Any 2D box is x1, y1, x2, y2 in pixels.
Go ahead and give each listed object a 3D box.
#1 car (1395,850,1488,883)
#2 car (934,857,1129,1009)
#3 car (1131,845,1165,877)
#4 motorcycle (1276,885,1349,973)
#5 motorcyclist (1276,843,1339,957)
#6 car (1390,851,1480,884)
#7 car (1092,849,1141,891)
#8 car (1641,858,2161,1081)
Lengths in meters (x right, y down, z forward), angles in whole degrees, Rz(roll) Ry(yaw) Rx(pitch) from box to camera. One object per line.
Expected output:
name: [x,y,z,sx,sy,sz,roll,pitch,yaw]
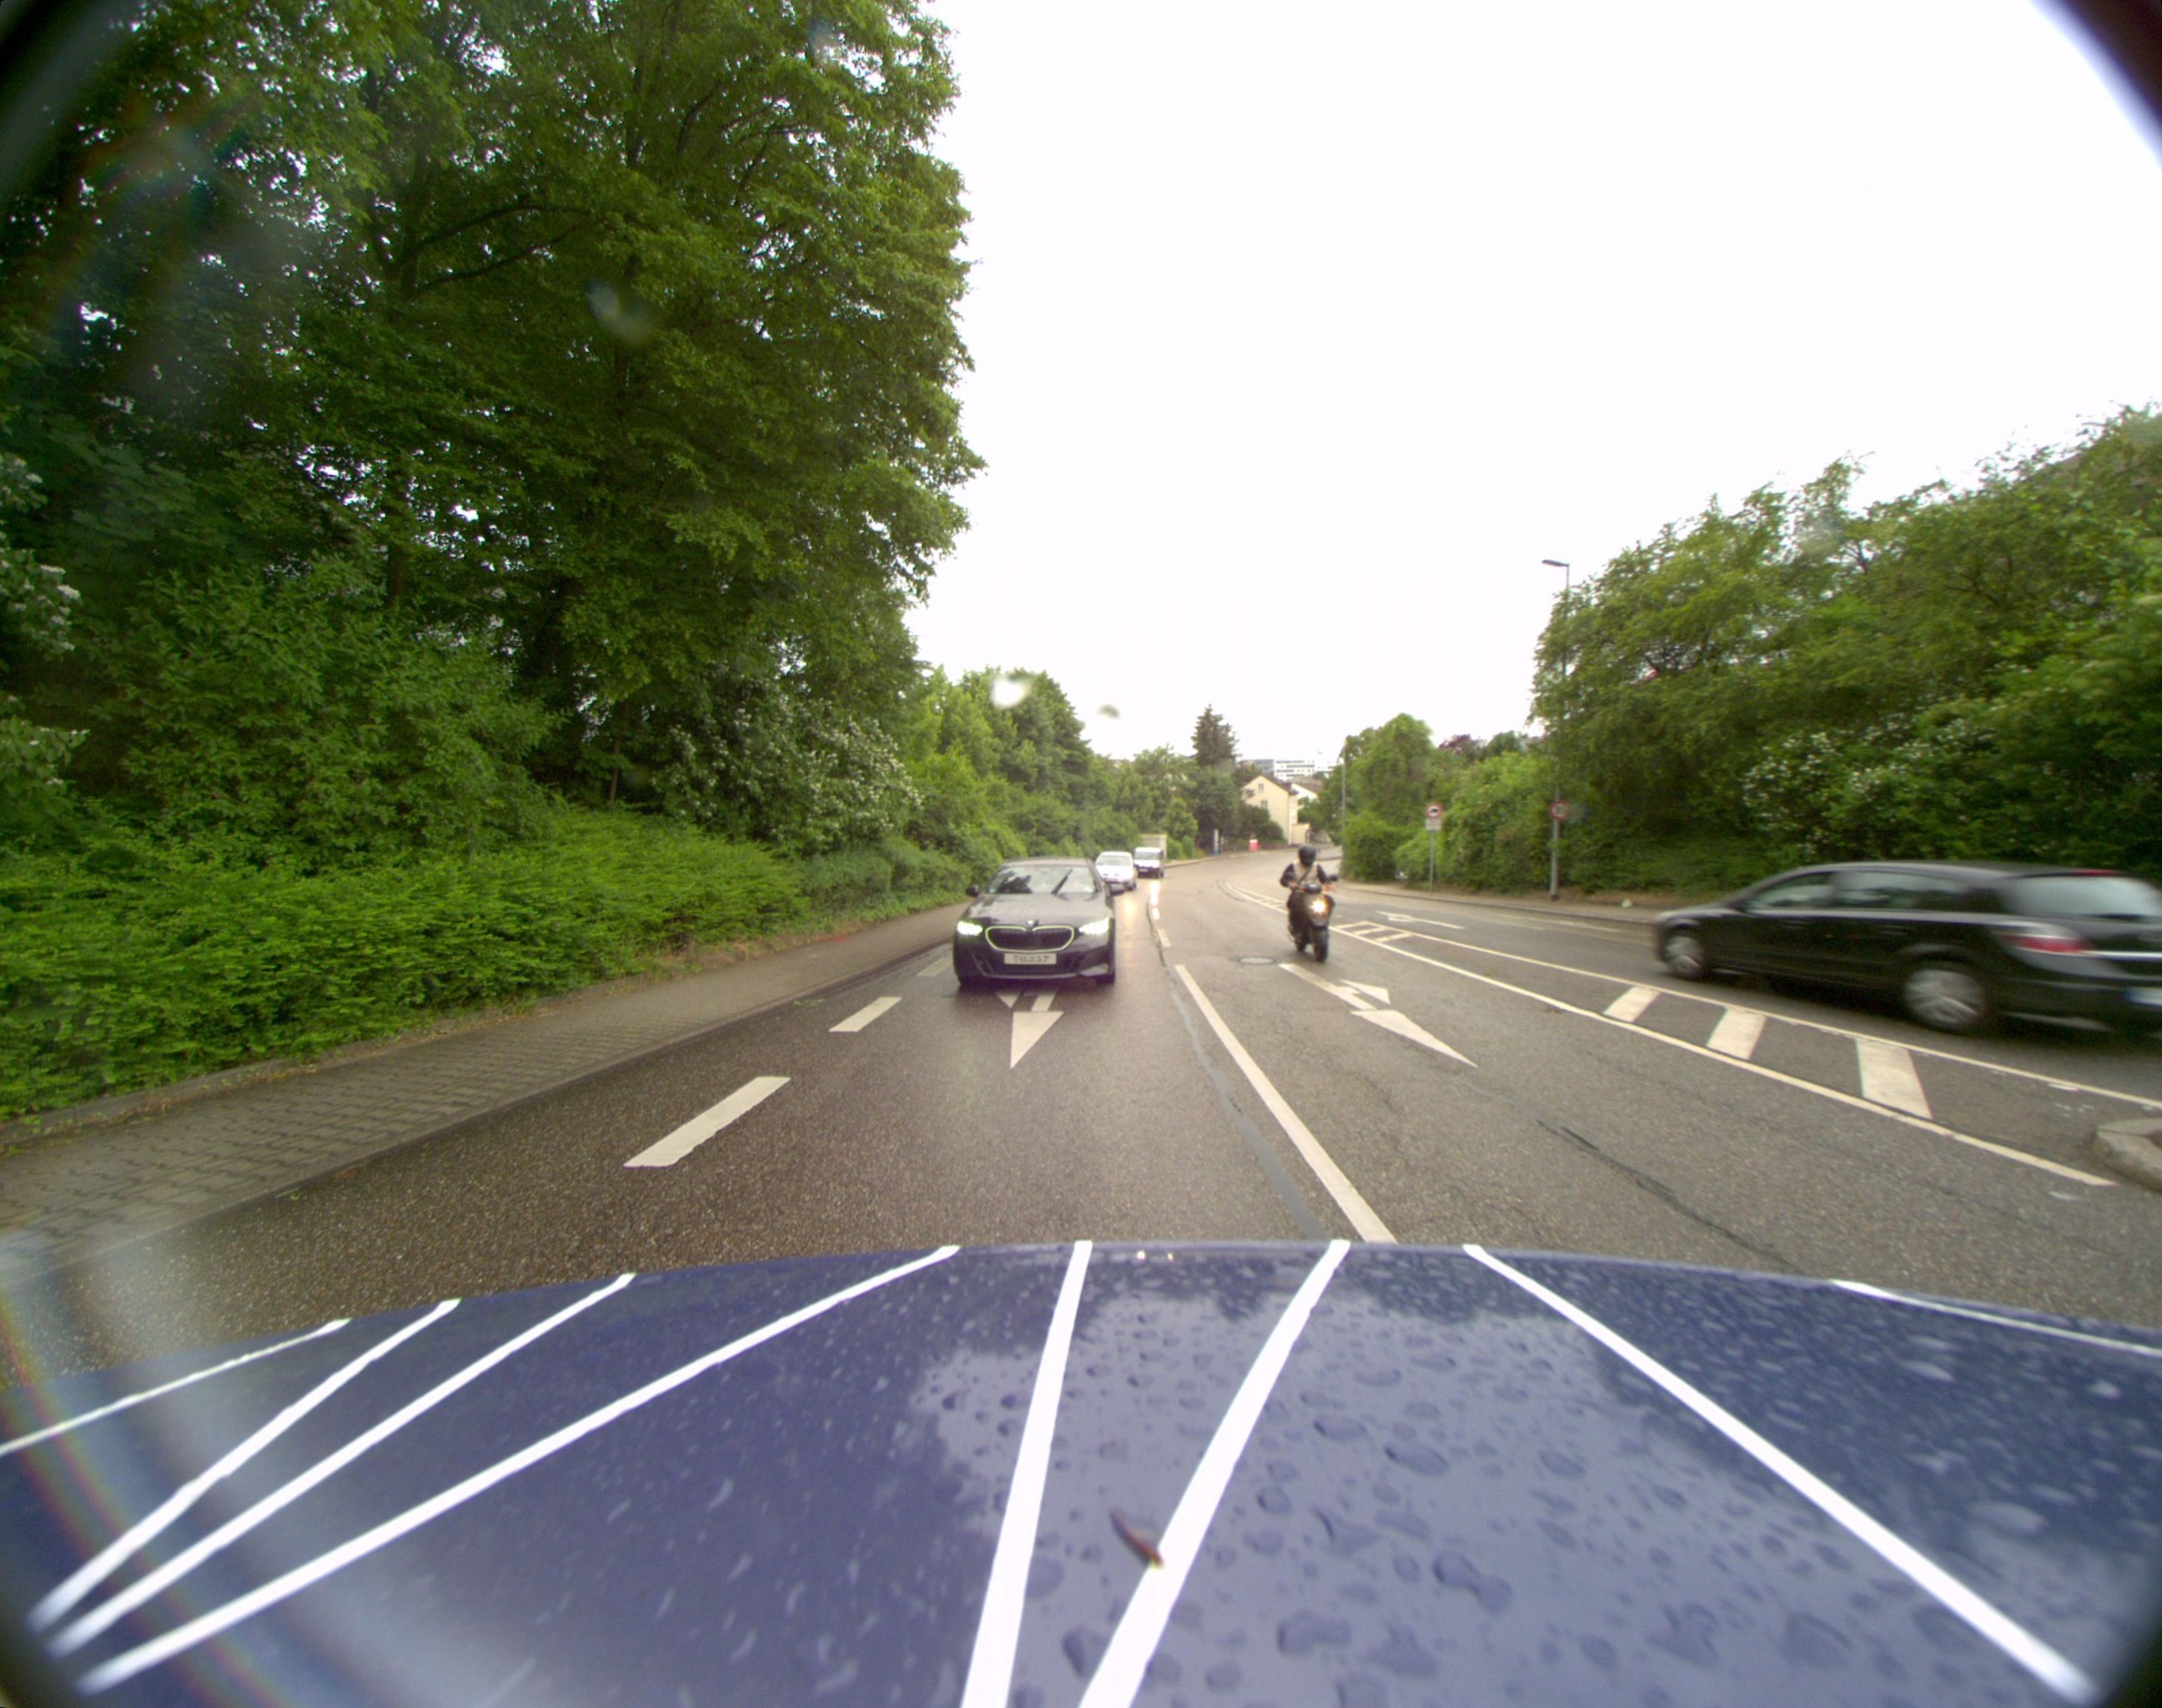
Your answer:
car: [18.534,0.622,39.173,3.908,1.432,1.812,-4,0,9]
car: [-0.414,0.849,10.215,1.871,1.497,4.199,1,1,6]
car: [4.134,0.392,46.420,1.776,1.765,4.002,3,2,8]
motorcycle: [3.304,1.035,11.000,0.692,1.047,1.747,1,2,7]
motorcyclist: [3.331,0.656,11.235,0.766,1.633,0.674,0,2,7]
car: [19.441,0.743,41.885,3.995,1.527,2.001,-4,0,8]
car: [1.500,0.605,31.393,1.817,1.431,4.000,3,2,4]
car: [7.825,0.817,7.281,1.900,1.500,3.999,1,0,-1]
